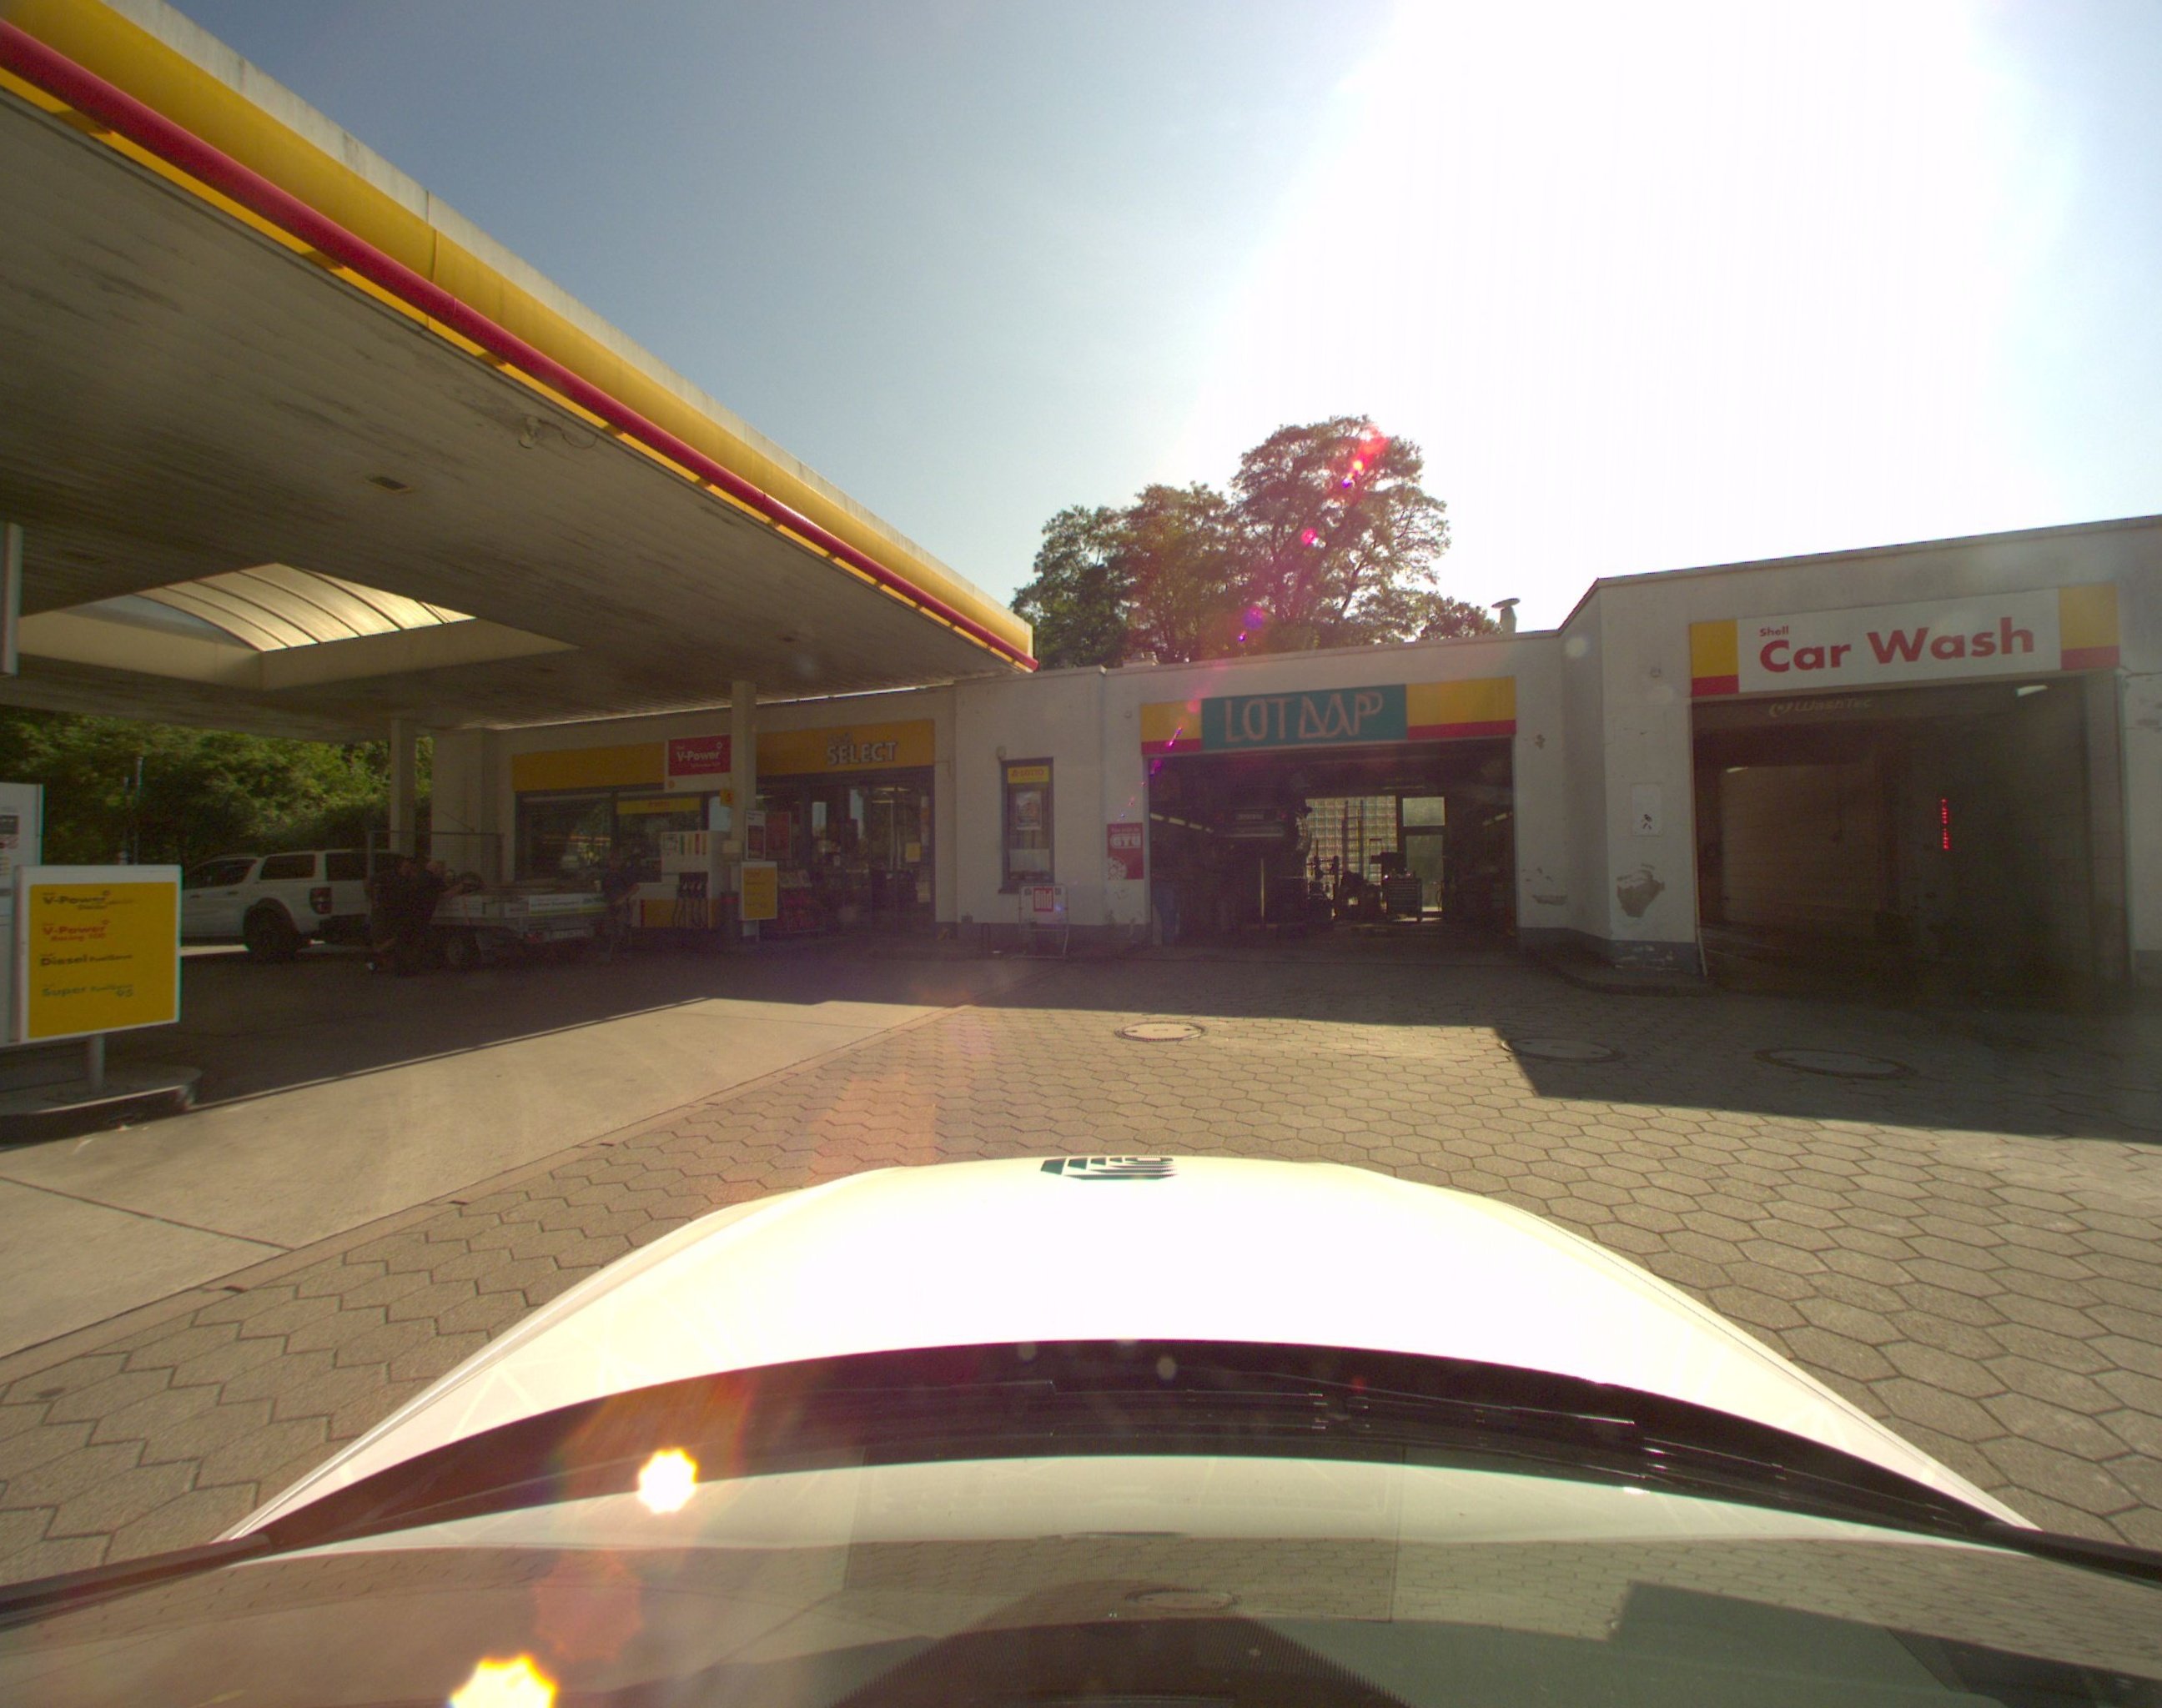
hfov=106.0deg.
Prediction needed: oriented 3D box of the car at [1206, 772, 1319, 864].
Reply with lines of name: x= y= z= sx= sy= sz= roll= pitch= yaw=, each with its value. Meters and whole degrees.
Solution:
car: x=3.834 y=-0.619 z=16.727 sx=1.632 sy=1.486 sz=4.020 roll=-2 pitch=-3 yaw=21

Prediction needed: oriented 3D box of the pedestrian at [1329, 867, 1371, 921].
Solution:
pedestrian: x=6.106 y=0.919 z=18.523 sx=0.856 sy=1.198 sz=0.746 roll=-2 pitch=-4 yaw=18

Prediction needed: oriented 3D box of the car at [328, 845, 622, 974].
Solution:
car: x=-9.299 y=0.819 z=12.514 sx=3.952 sy=1.728 sz=1.843 roll=-2 pitch=-2 yaw=22

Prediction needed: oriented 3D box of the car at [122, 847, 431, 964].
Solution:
car: x=-14.235 y=0.878 z=14.457 sx=4.727 sy=1.838 sz=1.865 roll=-1 pitch=-1 yaw=17

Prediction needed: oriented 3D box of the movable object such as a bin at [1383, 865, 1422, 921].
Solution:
movable object such as a bin: x=7.303 y=0.888 z=18.513 sx=0.790 sy=1.236 sz=0.547 roll=-2 pitch=-4 yaw=21

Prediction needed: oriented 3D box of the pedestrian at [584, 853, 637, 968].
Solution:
pedestrian: x=-7.029 y=0.830 z=12.170 sx=0.495 sy=1.668 sz=0.478 roll=-1 pitch=-2 yaw=20

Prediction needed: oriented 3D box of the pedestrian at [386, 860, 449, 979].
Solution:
pedestrian: x=-9.159 y=0.892 z=11.251 sx=0.470 sy=1.593 sz=0.503 roll=-1 pitch=-2 yaw=23

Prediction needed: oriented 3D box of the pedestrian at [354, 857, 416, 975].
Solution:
pedestrian: x=-9.946 y=0.867 z=11.642 sx=0.470 sy=1.632 sz=0.503 roll=-1 pitch=-2 yaw=23
